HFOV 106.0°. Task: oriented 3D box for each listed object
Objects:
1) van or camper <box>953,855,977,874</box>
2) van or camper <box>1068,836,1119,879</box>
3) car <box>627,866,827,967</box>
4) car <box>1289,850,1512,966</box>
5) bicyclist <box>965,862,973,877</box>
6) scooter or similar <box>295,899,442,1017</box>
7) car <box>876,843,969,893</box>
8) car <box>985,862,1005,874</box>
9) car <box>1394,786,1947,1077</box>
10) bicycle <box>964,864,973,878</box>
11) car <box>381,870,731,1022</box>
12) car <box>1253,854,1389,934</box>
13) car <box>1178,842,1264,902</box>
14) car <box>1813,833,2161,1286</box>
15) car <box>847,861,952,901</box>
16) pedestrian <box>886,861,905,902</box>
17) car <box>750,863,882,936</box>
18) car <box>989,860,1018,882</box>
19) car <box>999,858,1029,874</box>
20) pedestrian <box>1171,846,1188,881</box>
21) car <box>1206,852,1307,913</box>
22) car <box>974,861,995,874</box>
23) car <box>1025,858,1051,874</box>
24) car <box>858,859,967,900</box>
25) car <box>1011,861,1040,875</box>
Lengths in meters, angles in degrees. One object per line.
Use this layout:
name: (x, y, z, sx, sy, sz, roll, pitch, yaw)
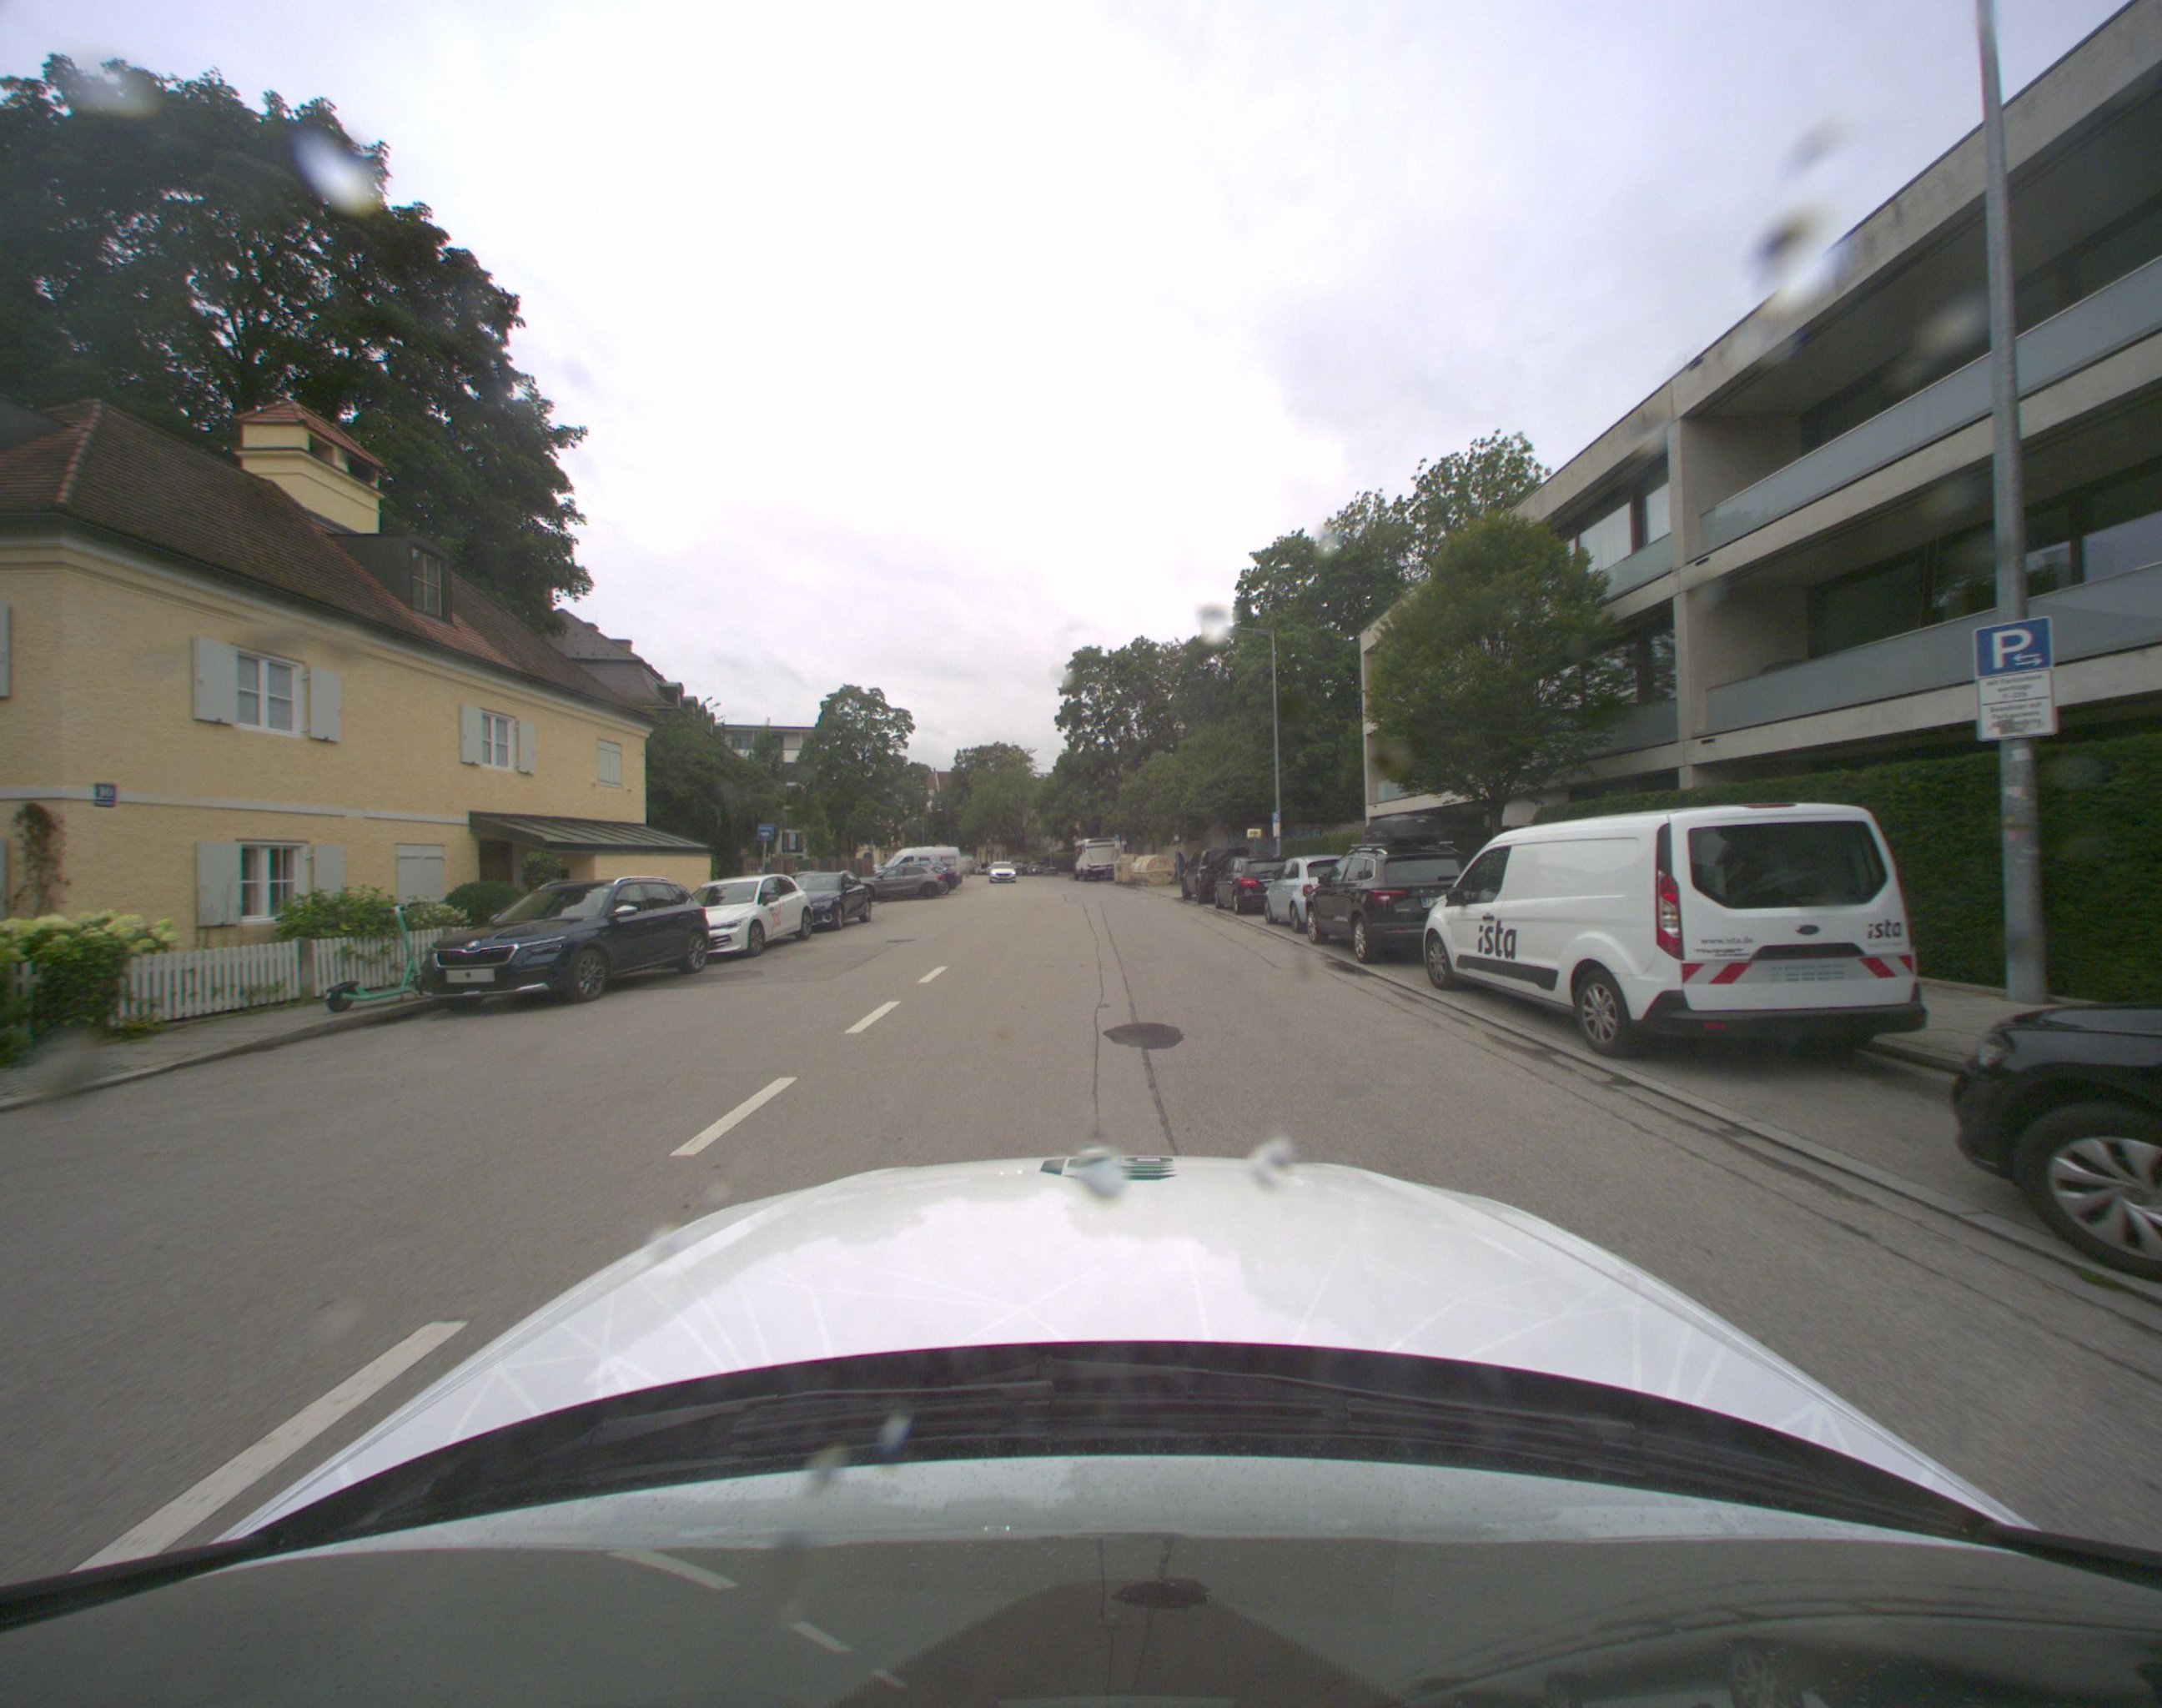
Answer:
van or camper: (-17.043, 1.588, 119.137, 2.200, 2.550, 5.688, -3, 0, -20)
van or camper: (0.836, 0.294, 59.773, 2.273, 2.906, 7.249, -1, 0, -11)
car: (-6.749, 1.108, 16.167, 1.839, 1.535, 4.522, -4, 0, 1)
car: (4.724, 0.691, 12.829, 1.742, 1.480, 4.598, -1, 0, 1)
bicyclist: (-10.567, 1.476, 76.637, 0.696, 1.352, 0.928, -2, -1, -7)
scooter or similar: (-8.188, 1.151, 9.426, 0.451, 1.188, 1.371, 0, 0, 1)
car: (-8.995, 0.755, 46.435, 4.655, 2.563, 2.211, -2, 0, -33)
car: (-10.830, 1.757, 102.576, 1.690, 1.441, 3.974, -2, -1, -19)
car: (4.715, 0.496, 7.678, 1.815, 1.860, 4.900, 0, 0, 2)
bicycle: (-10.567, 1.560, 76.595, 0.706, 1.305, 2.113, -2, 0, -7)
car: (-6.844, 1.075, 11.346, 1.839, 1.535, 4.441, -4, -1, 1)
car: (4.983, 0.762, 17.444, 1.742, 1.480, 3.887, -2, 0, 0)
car: (4.762, 0.616, 28.536, 1.983, 1.871, 5.073, -1, -1, -2)
car: (4.396, 0.660, 1.799, 1.742, 1.464, 4.242, -2, 0, 1)
car: (-7.907, 1.175, 35.574, 4.336, 1.530, 1.924, -2, -2, -13)
pedestrian: (-7.835, 1.152, 34.390, 0.589, 1.648, 0.712, -4, -1, -7)
car: (-6.672, 1.068, 21.086, 1.839, 1.535, 4.560, -4, 0, -1)
car: (-5.393, 1.159, 56.930, 1.768, 1.475, 4.129, -1, 0, -3)
car: (-7.716, 1.429, 93.576, 2.002, 1.711, 4.848, -3, 0, -22)
pedestrian: (5.715, 0.550, 47.388, 0.795, 1.985, 0.629, -1, -1, -9)
car: (4.850, 0.737, 23.166, 1.743, 1.539, 4.566, -1, 0, -2)
car: (-12.740, 1.816, 107.314, 1.713, 1.537, 4.212, -3, 0, -19)
car: (-4.543, 1.312, 85.449, 1.746, 1.536, 2.924, -3, -1, -22)
car: (-7.900, 1.171, 38.339, 4.545, 1.594, 1.945, -3, 0, -33)
car: (-6.087, 1.504, 89.258, 1.885, 1.427, 4.190, -3, 0, -22)
